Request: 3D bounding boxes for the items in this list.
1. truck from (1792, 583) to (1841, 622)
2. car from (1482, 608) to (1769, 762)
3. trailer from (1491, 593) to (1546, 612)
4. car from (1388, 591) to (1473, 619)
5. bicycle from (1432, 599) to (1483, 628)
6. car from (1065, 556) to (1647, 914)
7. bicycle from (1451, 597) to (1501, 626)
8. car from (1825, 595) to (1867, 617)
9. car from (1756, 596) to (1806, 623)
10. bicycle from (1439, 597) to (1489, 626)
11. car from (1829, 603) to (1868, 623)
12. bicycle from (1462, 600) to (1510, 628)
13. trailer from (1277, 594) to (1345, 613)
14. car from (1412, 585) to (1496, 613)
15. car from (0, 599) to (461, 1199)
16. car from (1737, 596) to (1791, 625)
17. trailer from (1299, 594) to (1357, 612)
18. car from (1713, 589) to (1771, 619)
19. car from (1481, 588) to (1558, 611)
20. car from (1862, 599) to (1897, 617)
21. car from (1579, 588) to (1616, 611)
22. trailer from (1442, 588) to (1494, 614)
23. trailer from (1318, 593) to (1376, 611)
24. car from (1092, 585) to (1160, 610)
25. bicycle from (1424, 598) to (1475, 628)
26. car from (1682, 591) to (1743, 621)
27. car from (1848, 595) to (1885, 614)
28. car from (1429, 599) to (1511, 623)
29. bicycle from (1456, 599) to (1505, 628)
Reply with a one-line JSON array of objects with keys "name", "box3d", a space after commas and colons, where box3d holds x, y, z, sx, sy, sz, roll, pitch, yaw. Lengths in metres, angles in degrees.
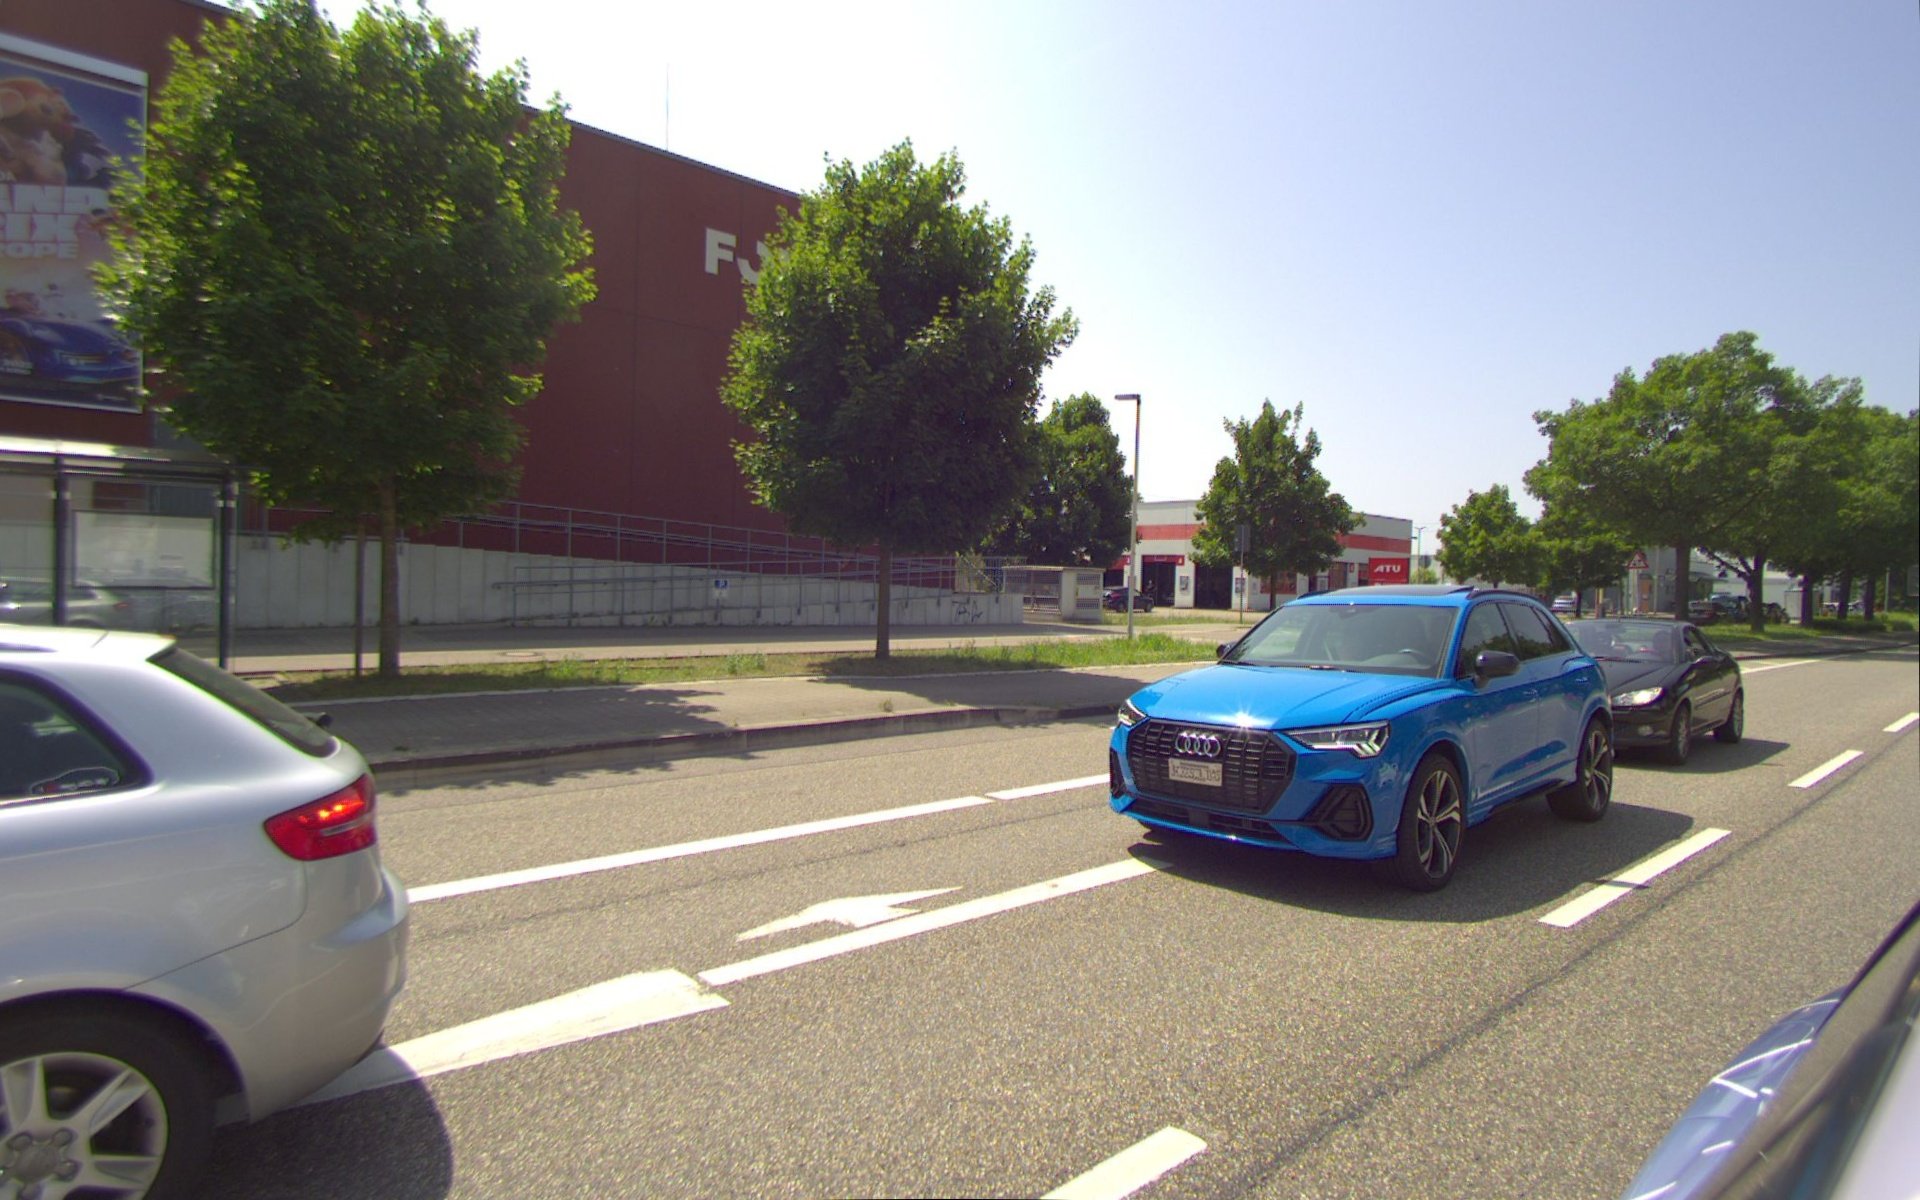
[{"name": "truck", "box3d": [59.483, 0.190, 70.291, 3.928, 2.599, 1.904, 1, 1, -40]}, {"name": "car", "box3d": [7.260, 0.769, 10.885, 3.931, 1.361, 1.640, 1, -1, -42]}, {"name": "trailer", "box3d": [34.474, 0.127, 62.520, 1.551, 1.065, 2.638, 1, 1, -43]}, {"name": "car", "box3d": [26.455, 0.282, 57.018, 1.718, 1.419, 3.992, 1, 1, -43]}, {"name": "bicycle", "box3d": [20.522, 0.554, 41.778, 1.779, 1.138, 0.506, 2, 1, 43]}, {"name": "car", "box3d": [2.839, 0.598, 6.706, 4.324, 1.616, 1.840, 0, 1, -42]}, {"name": "bicycle", "box3d": [21.723, 0.477, 42.622, 1.779, 1.138, 0.506, 2, 1, 43]}, {"name": "car", "box3d": [64.440, 0.441, 73.594, 3.930, 1.485, 1.719, 1, 1, -41]}, {"name": "car", "box3d": [50.850, 0.589, 62.641, 3.930, 1.532, 1.719, 1, 1, -41]}, {"name": "bicycle", "box3d": [21.084, 0.454, 42.340, 1.779, 1.138, 0.506, 2, 1, 43]}, {"name": "car", "box3d": [68.862, 0.989, 78.394, 3.930, 1.485, 1.719, 1, 1, -41]}, {"name": "bicycle", "box3d": [22.651, 0.584, 43.595, 1.779, 1.138, 0.506, 2, 1, 43]}, {"name": "trailer", "box3d": [15.562, 0.147, 44.954, 1.423, 0.771, 2.467, 1, 1, -39]}, {"name": "car", "box3d": [28.395, -0.078, 58.264, 1.718, 1.419, 3.991, 1, 1, -44]}, {"name": "car", "box3d": [-3.325, 0.688, 1.858, 4.022, 1.379, 1.714, 0, 0, -43]}, {"name": "car", "box3d": [46.466, 0.598, 58.432, 3.930, 1.539, 1.719, 1, 1, -41]}, {"name": "trailer", "box3d": [16.808, 0.128, 46.249, 1.244, 0.771, 2.137, 1, 1, -39]}, {"name": "car", "box3d": [42.638, 0.216, 55.132, 3.930, 1.485, 1.719, 1, 1, -41]}, {"name": "car", "box3d": [35.570, -0.036, 64.404, 1.661, 1.317, 3.991, 1, 1, -44]}, {"name": "car", "box3d": [79.216, 0.662, 87.188, 3.930, 1.485, 1.719, 1, 1, -41]}, {"name": "car", "box3d": [48.711, -0.033, 77.331, 1.753, 1.616, 3.939, 2, 1, 42]}, {"name": "trailer", "box3d": [32.432, 0.038, 64.583, 1.391, 1.546, 2.638, 1, 1, -43]}, {"name": "trailer", "box3d": [18.113, 0.109, 47.355, 1.368, 0.771, 2.137, 1, 1, -39]}, {"name": "car", "box3d": [9.681, -0.153, 58.818, 4.074, 1.390, 1.716, 0, 2, -42]}, {"name": "bicycle", "box3d": [20.019, 0.532, 41.433, 1.779, 1.138, 0.506, 2, 1, 43]}, {"name": "car", "box3d": [38.086, 0.307, 51.170, 3.930, 1.388, 1.641, 1, 1, -41]}, {"name": "car", "box3d": [74.455, 0.355, 83.092, 3.930, 1.485, 1.719, 1, 1, -41]}, {"name": "car", "box3d": [30.168, 0.630, 59.888, 1.718, 1.223, 3.991, 1, 1, -44]}, {"name": "bicycle", "box3d": [22.206, 0.570, 43.167, 1.779, 1.138, 0.506, 2, 1, 43]}]
